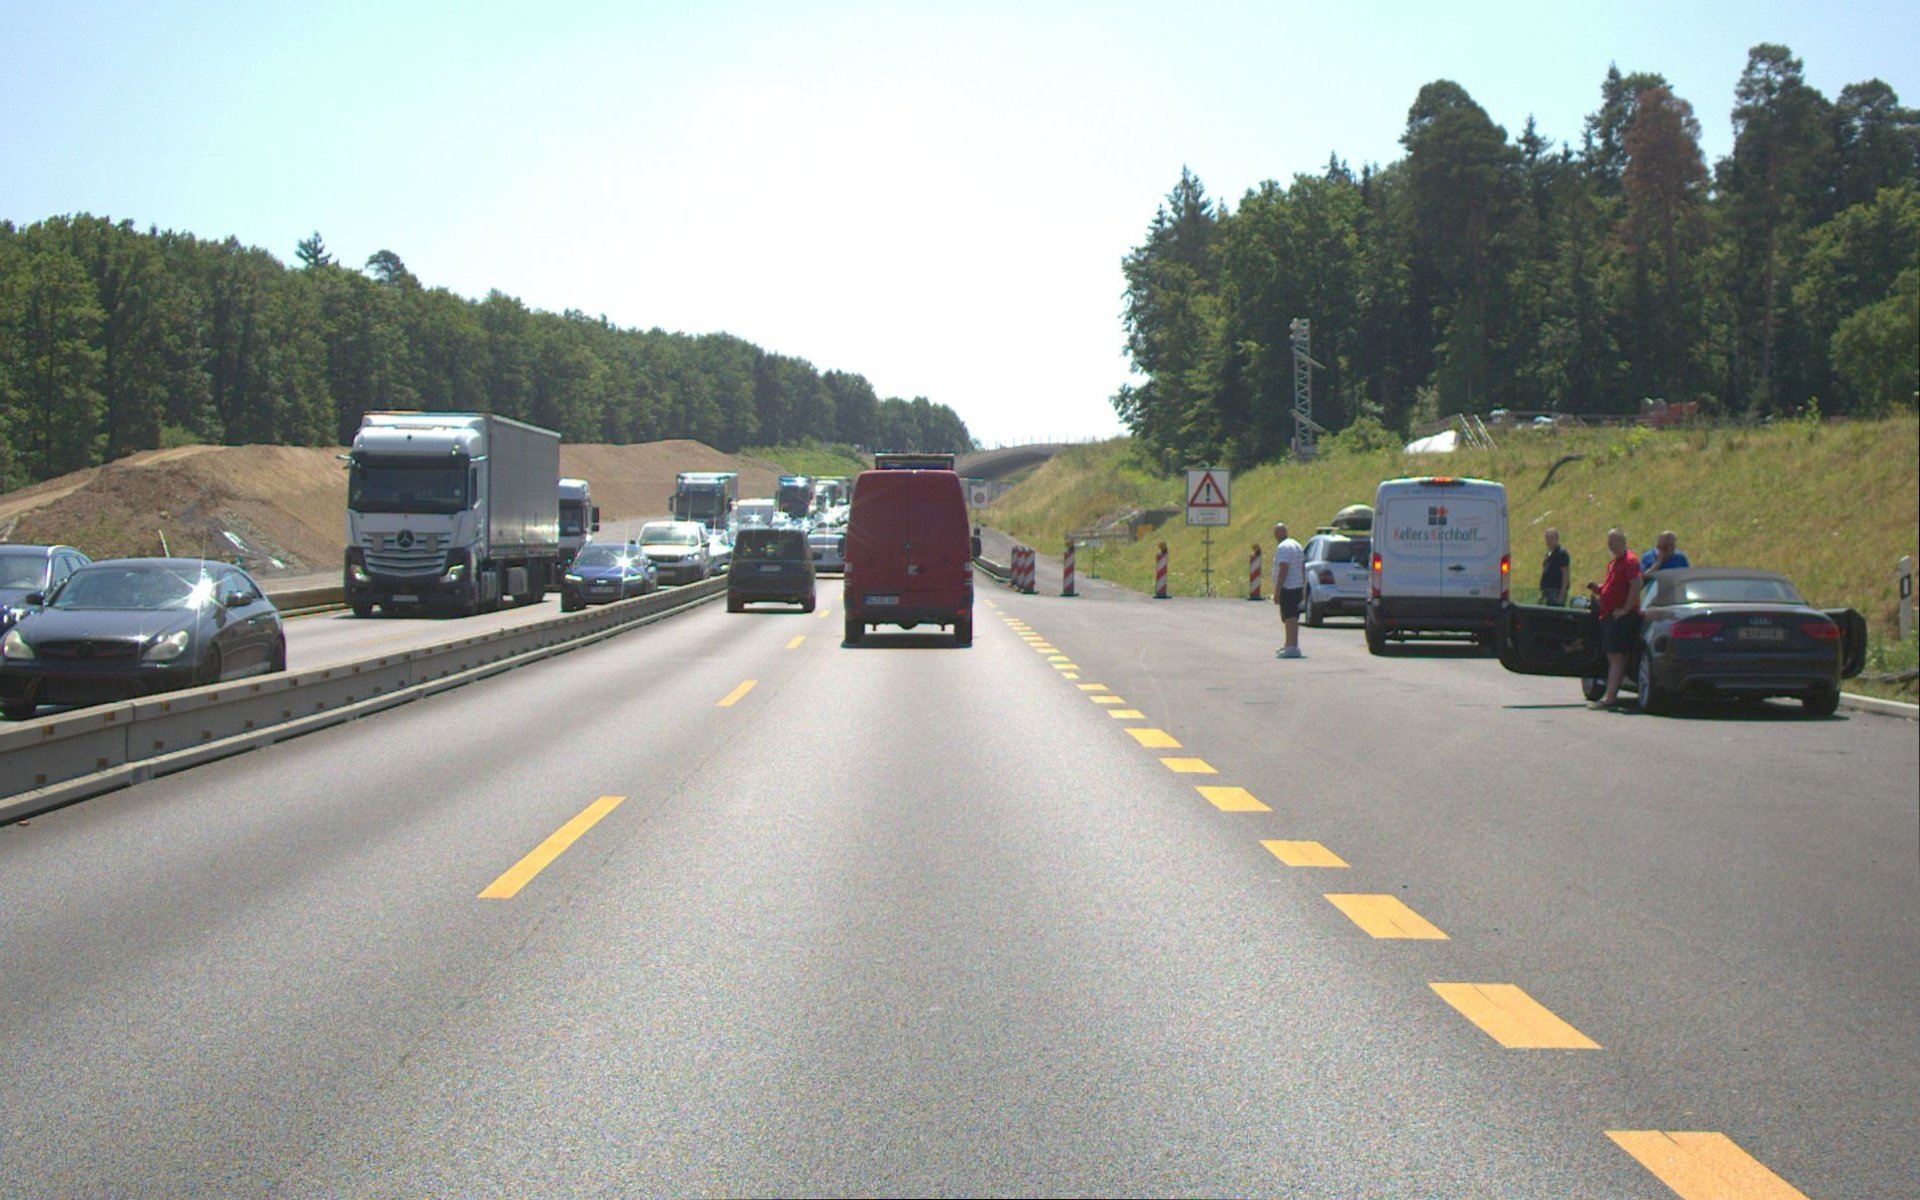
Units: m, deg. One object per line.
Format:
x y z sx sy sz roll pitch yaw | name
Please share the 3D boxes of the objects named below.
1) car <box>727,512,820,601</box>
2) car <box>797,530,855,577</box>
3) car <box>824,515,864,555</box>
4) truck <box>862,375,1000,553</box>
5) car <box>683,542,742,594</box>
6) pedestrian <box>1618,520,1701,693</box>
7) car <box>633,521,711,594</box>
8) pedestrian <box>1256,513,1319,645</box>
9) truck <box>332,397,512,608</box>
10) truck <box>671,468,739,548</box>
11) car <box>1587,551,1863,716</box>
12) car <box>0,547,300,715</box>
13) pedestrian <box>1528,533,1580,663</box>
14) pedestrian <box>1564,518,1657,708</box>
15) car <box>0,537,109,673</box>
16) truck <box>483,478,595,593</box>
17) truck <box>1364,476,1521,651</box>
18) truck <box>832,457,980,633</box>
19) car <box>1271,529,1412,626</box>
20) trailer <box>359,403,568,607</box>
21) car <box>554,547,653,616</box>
-3.987 -0.950 74.040 1.751 1.818 4.783 1 1 -1 | car
-4.525 -1.561 116.425 1.831 1.517 3.961 1 0 -1 | car
-6.144 -3.456 182.544 1.993 2.007 4.000 1 0 -1 | car
-1.041 -4.533 120.001 4.400 5.477 16.604 1 0 -1 | truck
-7.994 -1.016 111.253 1.724 1.625 4.391 1 0 -2 | car
7.503 0.062 36.893 0.624 1.822 0.643 1 1 -12 | pedestrian
-7.939 -1.156 95.253 1.825 1.920 5.264 1 0 -1 | car
4.572 -0.294 48.017 0.723 1.822 0.720 1 0 -6 | pedestrian
-10.693 -1.884 68.753 2.768 4.030 4.943 1 0 0 | truck
-12.294 -4.397 166.374 2.509 3.605 9.641 1 0 0 | truck
7.424 0.272 33.760 1.654 1.422 4.545 -2 1 0 | car
-7.303 0.257 31.361 1.729 1.382 4.861 1 0 -1 | car
8.298 -0.025 48.051 0.563 1.789 0.667 1 0 -2 | pedestrian
6.328 0.121 33.452 0.640 1.822 0.559 1 1 -21 | pedestrian
-10.797 0.036 38.217 1.630 1.419 4.502 1 0 -1 | car
-11.544 -1.735 94.571 2.398 3.048 5.062 1 0 0 | truck
7.219 -0.579 51.933 2.130 2.448 5.924 1 1 6 | truck
-0.854 -0.826 53.735 2.153 2.581 5.333 1 0 -1 | truck
7.224 -0.460 65.557 1.774 1.671 4.856 2 2 -4 | car
-10.789 -2.047 76.129 2.790 4.061 13.712 1 1 -1 | trailer
-7.570 -0.383 73.270 1.726 1.382 4.484 1 0 -1 | car
